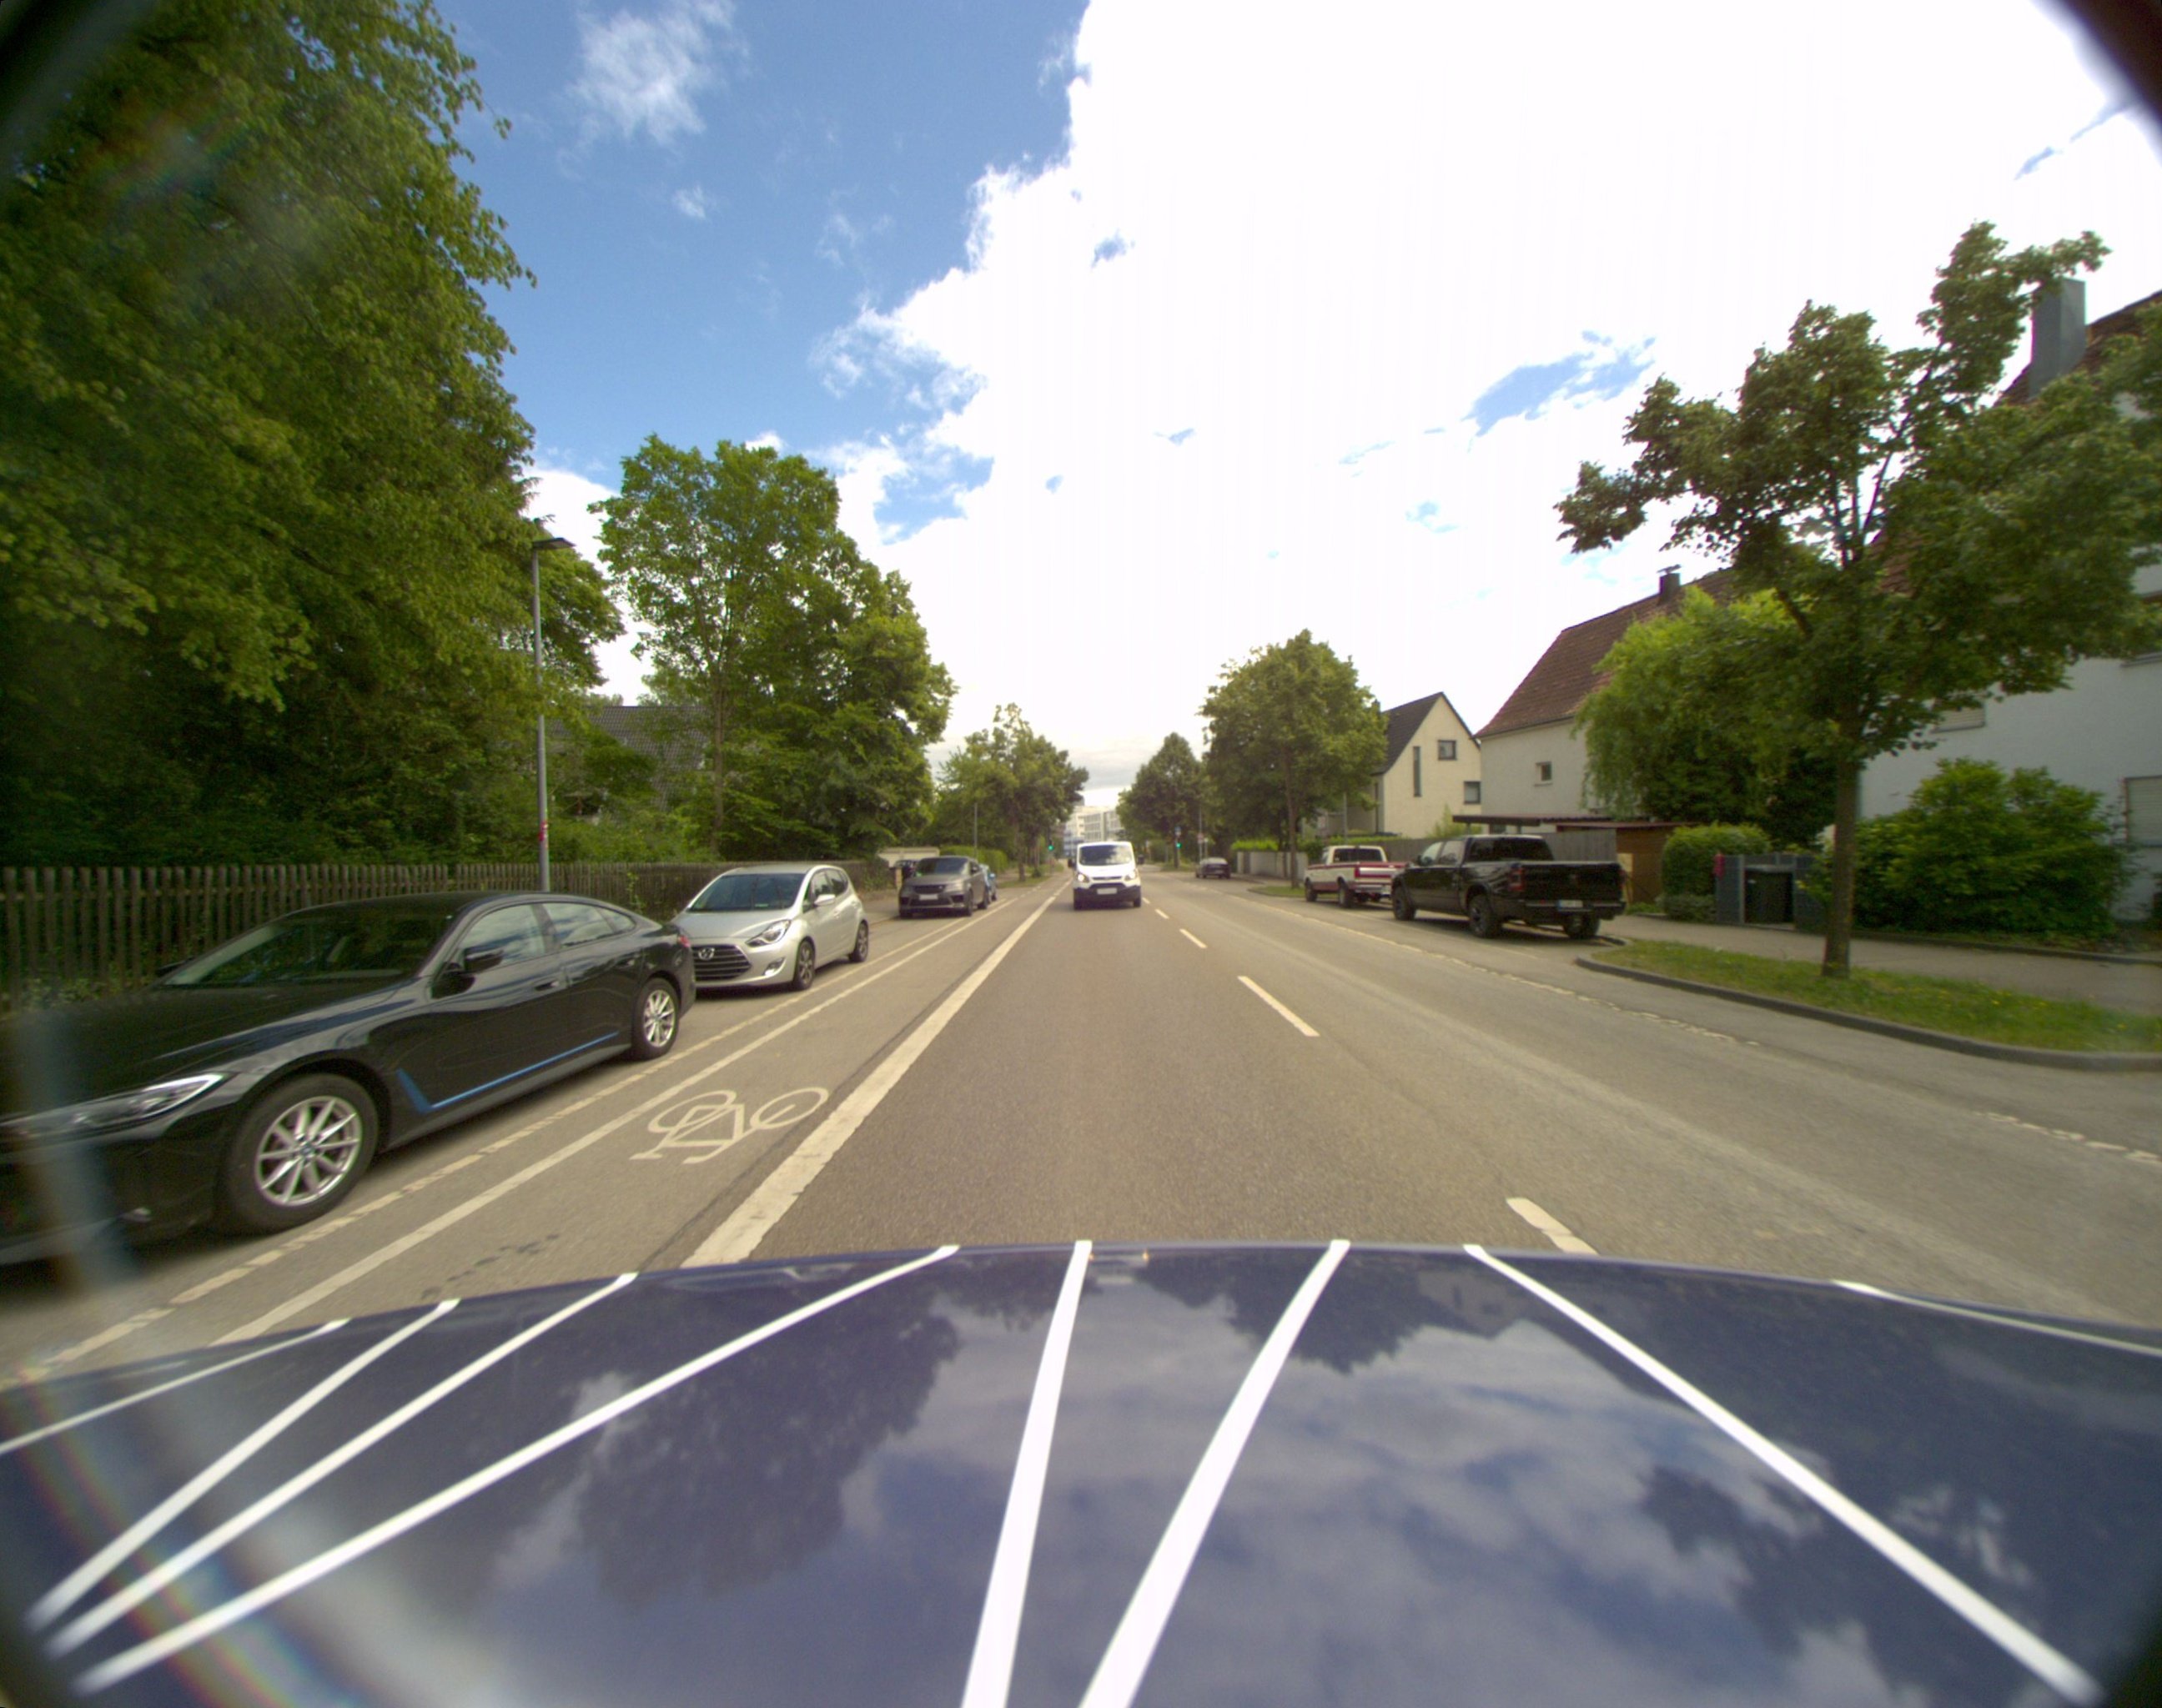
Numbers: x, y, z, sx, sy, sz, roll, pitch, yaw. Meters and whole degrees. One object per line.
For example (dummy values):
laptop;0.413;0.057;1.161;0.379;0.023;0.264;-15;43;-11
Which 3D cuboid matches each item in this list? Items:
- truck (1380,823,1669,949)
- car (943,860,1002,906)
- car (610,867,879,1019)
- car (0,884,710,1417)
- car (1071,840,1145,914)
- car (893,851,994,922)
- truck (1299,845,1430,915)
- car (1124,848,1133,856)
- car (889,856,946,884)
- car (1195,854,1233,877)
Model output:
truck;8.502;0.520;15.525;2.429;2.031;5.995;-1;0;0
car;-4.029;1.049;28.692;1.689;1.493;3.920;-2;1;-1
car;-4.383;1.045;10.795;1.867;1.580;4.421;-2;0;-1
car;-4.437;1.089;4.784;1.820;1.506;4.679;-2;1;0
car;0.813;0.621;23.909;1.998;2.002;5.188;-2;1;1
car;-3.968;0.876;22.816;1.998;1.805;4.827;-2;1;1
truck;8.411;0.690;23.204;1.971;1.857;5.664;1;0;1
car;10.237;-0.395;163.723;1.786;1.622;4.000;-1;0;2
car;-9.643;0.938;45.014;1.647;1.559;3.225;-1;0;25
car;9.006;0.750;51.912;1.750;1.400;4.927;1;0;0
